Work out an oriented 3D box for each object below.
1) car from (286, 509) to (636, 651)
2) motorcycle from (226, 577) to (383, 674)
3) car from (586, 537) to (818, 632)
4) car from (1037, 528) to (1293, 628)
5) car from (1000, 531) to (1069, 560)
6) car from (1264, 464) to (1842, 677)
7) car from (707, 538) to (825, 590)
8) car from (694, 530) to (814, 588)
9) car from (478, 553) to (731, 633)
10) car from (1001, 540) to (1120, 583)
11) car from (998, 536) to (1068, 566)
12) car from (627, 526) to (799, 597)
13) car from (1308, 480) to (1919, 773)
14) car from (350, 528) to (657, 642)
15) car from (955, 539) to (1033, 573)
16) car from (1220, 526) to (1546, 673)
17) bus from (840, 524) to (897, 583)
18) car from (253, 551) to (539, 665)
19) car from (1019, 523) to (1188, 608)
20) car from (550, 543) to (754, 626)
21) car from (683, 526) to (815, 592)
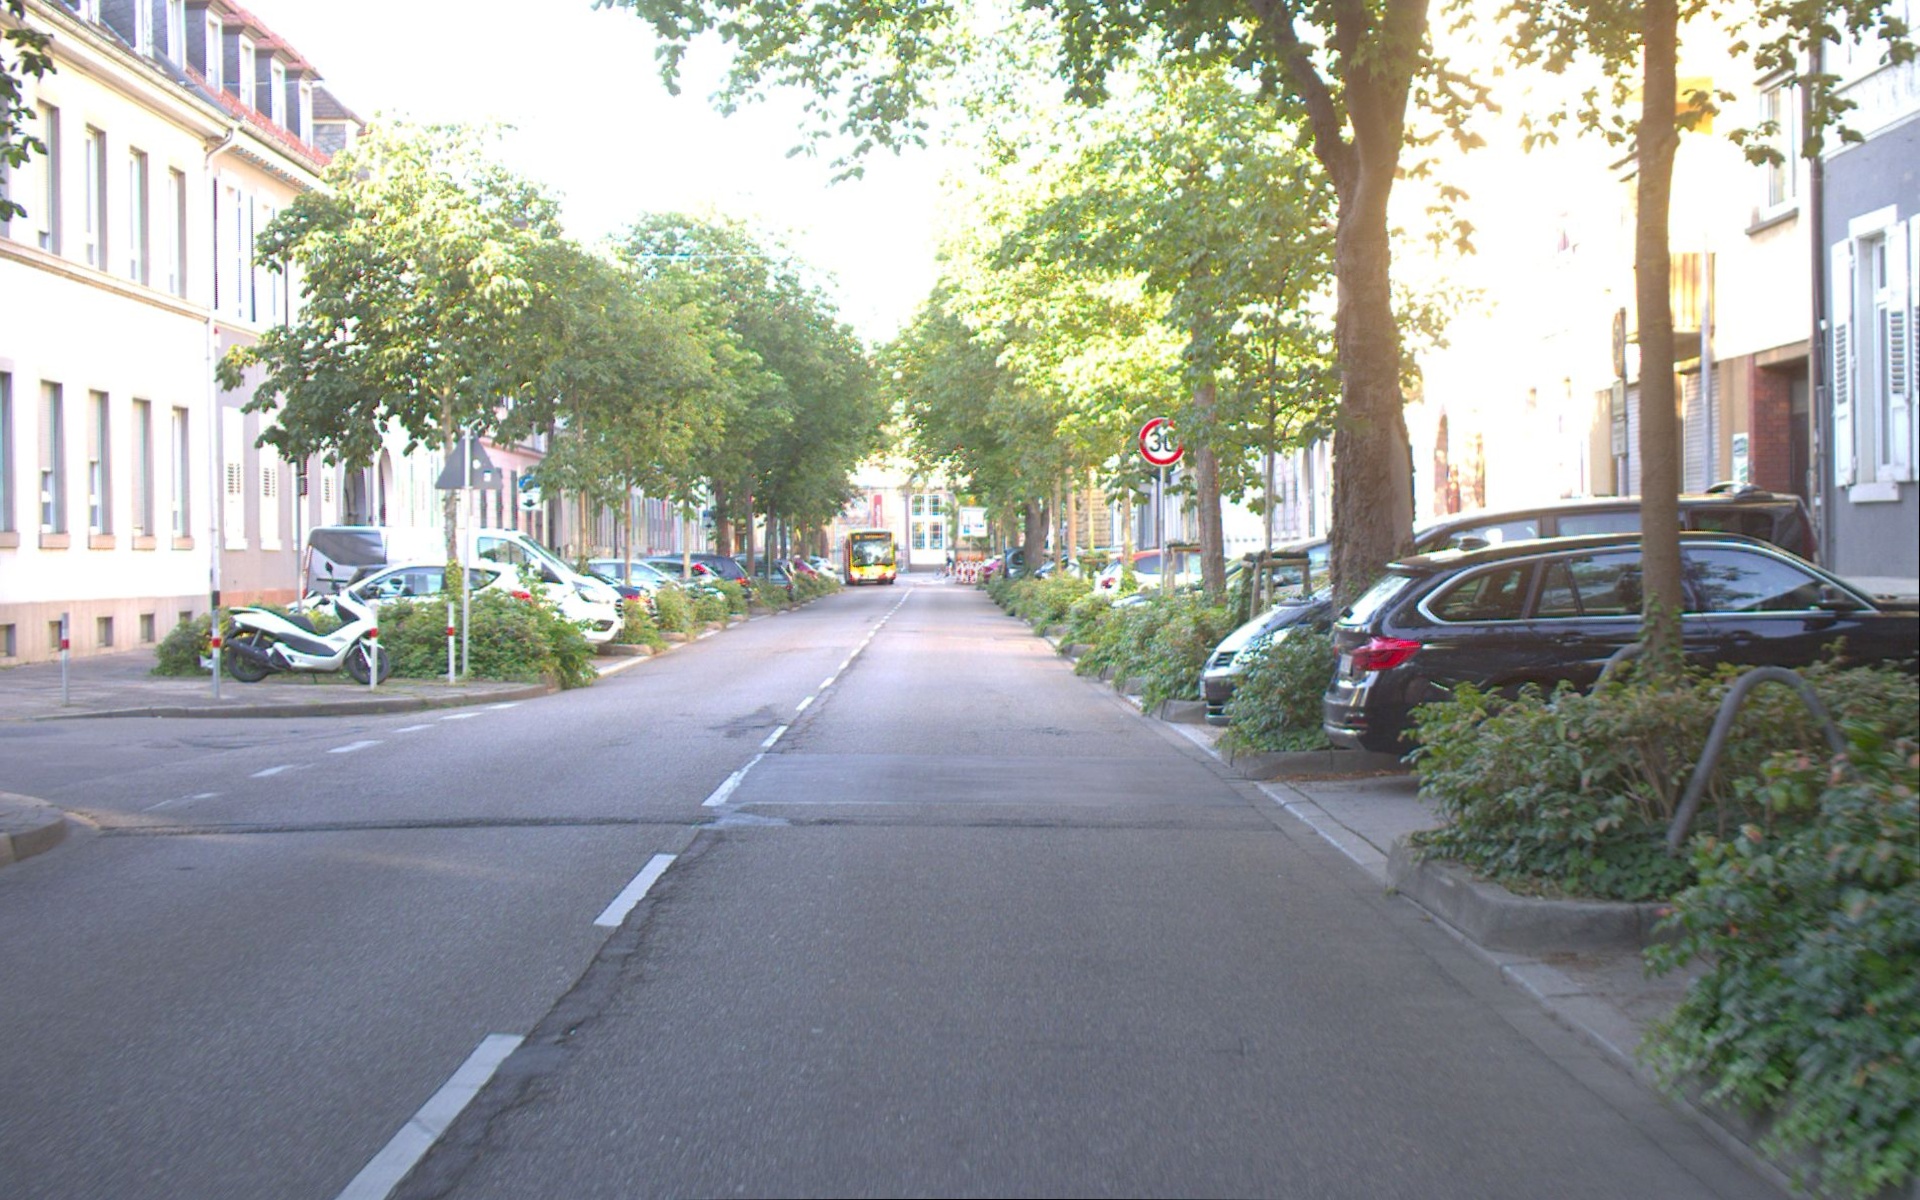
[{"bbox_3d":[-7.665,-0.322,53.196,5.064,2.076,2.263,-1,1,0],"label":"car"},{"bbox_3d":[-7.358,0.281,38.612,1.636,1.064,0.656,0,1,0],"label":"motorcycle"},{"bbox_3d":[-5.860,-0.373,78.619,5.064,2.076,2.263,-1,1,2],"label":"car"},{"bbox_3d":[3.735,-0.414,63.345,4.593,1.755,2.222,-1,1,1],"label":"car"},{"bbox_3d":[4.607,-3.355,211.230,3.988,1.766,1.999,-1,1,9],"label":"car"},{"bbox_3d":[4.434,-0.230,26.120,4.014,1.414,1.781,-2,1,-1],"label":"car"},{"bbox_3d":[-6.844,-1.280,121.636,3.987,1.781,1.796,-1,1,2],"label":"car"},{"bbox_3d":[-7.143,-1.413,119.451,3.987,1.810,1.904,-1,-5,2],"label":"car"},{"bbox_3d":[-7.539,-0.156,73.266,5.064,1.611,2.263,-1,1,3],"label":"car"},{"bbox_3d":[3.438,-1.322,118.295,3.986,1.437,1.697,-1,1,-2],"label":"car"},{"bbox_3d":[4.447,-2.975,208.284,3.988,1.766,1.999,-1,1,9],"label":"car"},{"bbox_3d":[-7.565,-1.194,105.583,5.064,2.076,2.263,-1,1,1],"label":"car"},{"bbox_3d":[4.182,0.130,20.374,4.014,1.617,1.781,-1,1,-1],"label":"car"},{"bbox_3d":[-8.048,-0.282,61.002,5.064,1.817,2.263,-1,3,2],"label":"car"},{"bbox_3d":[1.836,-2.360,184.992,3.988,1.831,1.999,0,1,7],"label":"car"},{"bbox_3d":[4.858,-0.019,39.810,3.616,1.621,1.585,-1,1,3],"label":"car"},{"bbox_3d":[-5.171,-2.611,192.182,3.028,3.179,9.404,0,1,-3],"label":"bus"},{"bbox_3d":[-7.799,0.094,47.806,3.725,1.503,1.873,-1,1,-4],"label":"car"},{"bbox_3d":[3.438,-0.822,82.242,3.987,2.007,2.000,0,1,3],"label":"car"},{"bbox_3d":[-7.984,-0.412,89.523,5.064,2.076,2.263,-1,1,1],"label":"car"},{"bbox_3d":[-6.643,-1.290,108.560,3.987,2.007,2.000,-1,1,1],"label":"car"}]
